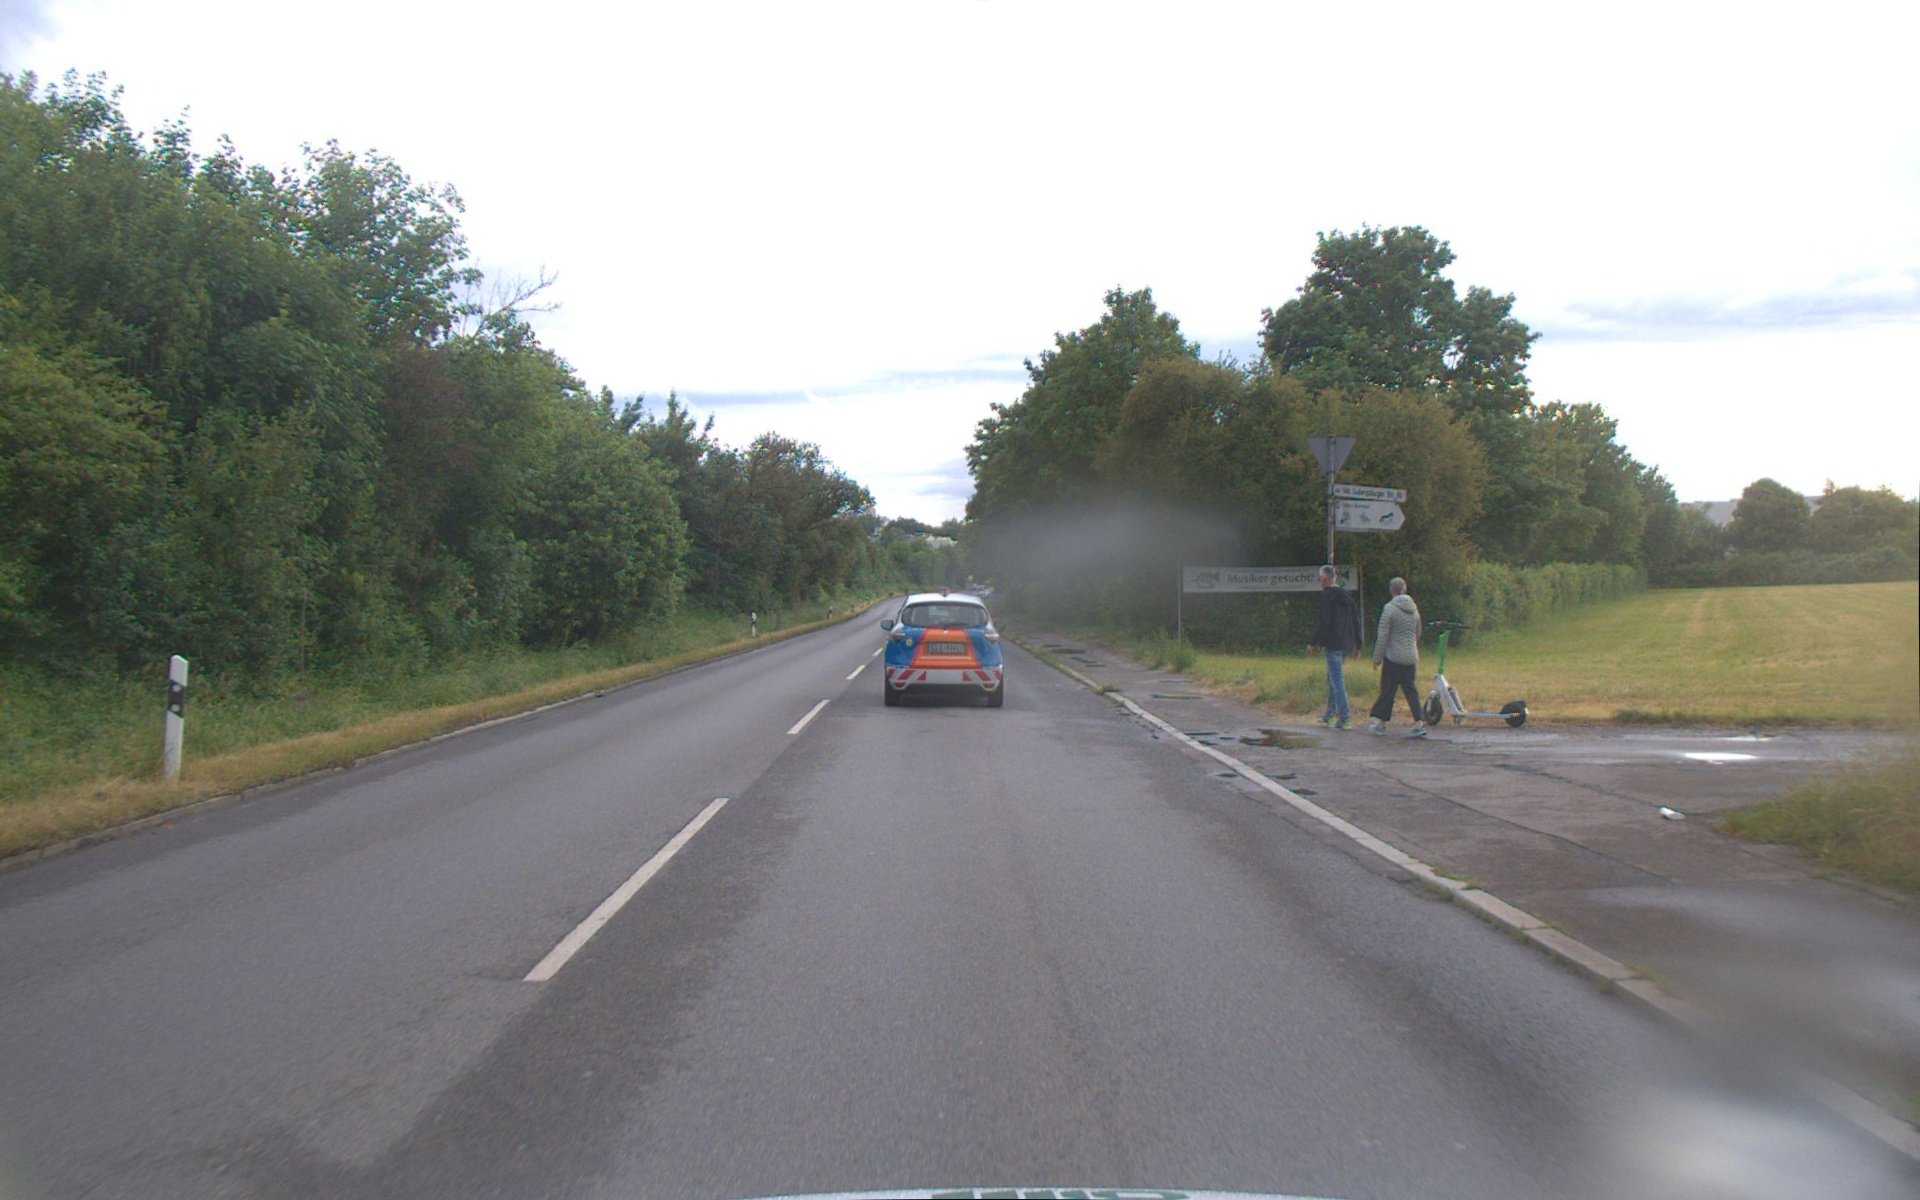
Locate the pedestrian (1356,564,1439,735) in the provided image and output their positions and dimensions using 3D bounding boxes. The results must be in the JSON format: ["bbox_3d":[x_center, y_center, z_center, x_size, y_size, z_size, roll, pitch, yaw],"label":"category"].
[{"bbox_3d":[4.743,0.528,17.972,0.647,1.809,0.760,-1,0,-1],"label":"pedestrian"}]

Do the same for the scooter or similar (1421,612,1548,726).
[{"bbox_3d":[5.872,0.763,18.553,1.303,1.227,0.372,-1,-1,40],"label":"scooter or similar"}]

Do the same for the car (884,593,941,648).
[{"bbox_3d":[-1.477,0.614,51.697,1.660,1.623,3.854,1,0,-2],"label":"car"}]

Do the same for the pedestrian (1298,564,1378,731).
[{"bbox_3d":[4.343,0.538,19.043,0.679,1.859,0.801,-1,0,-1],"label":"pedestrian"}]

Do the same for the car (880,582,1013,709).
[{"bbox_3d":[-0.219,0.624,24.431,1.769,1.697,3.855,1,0,-1],"label":"car"}]
